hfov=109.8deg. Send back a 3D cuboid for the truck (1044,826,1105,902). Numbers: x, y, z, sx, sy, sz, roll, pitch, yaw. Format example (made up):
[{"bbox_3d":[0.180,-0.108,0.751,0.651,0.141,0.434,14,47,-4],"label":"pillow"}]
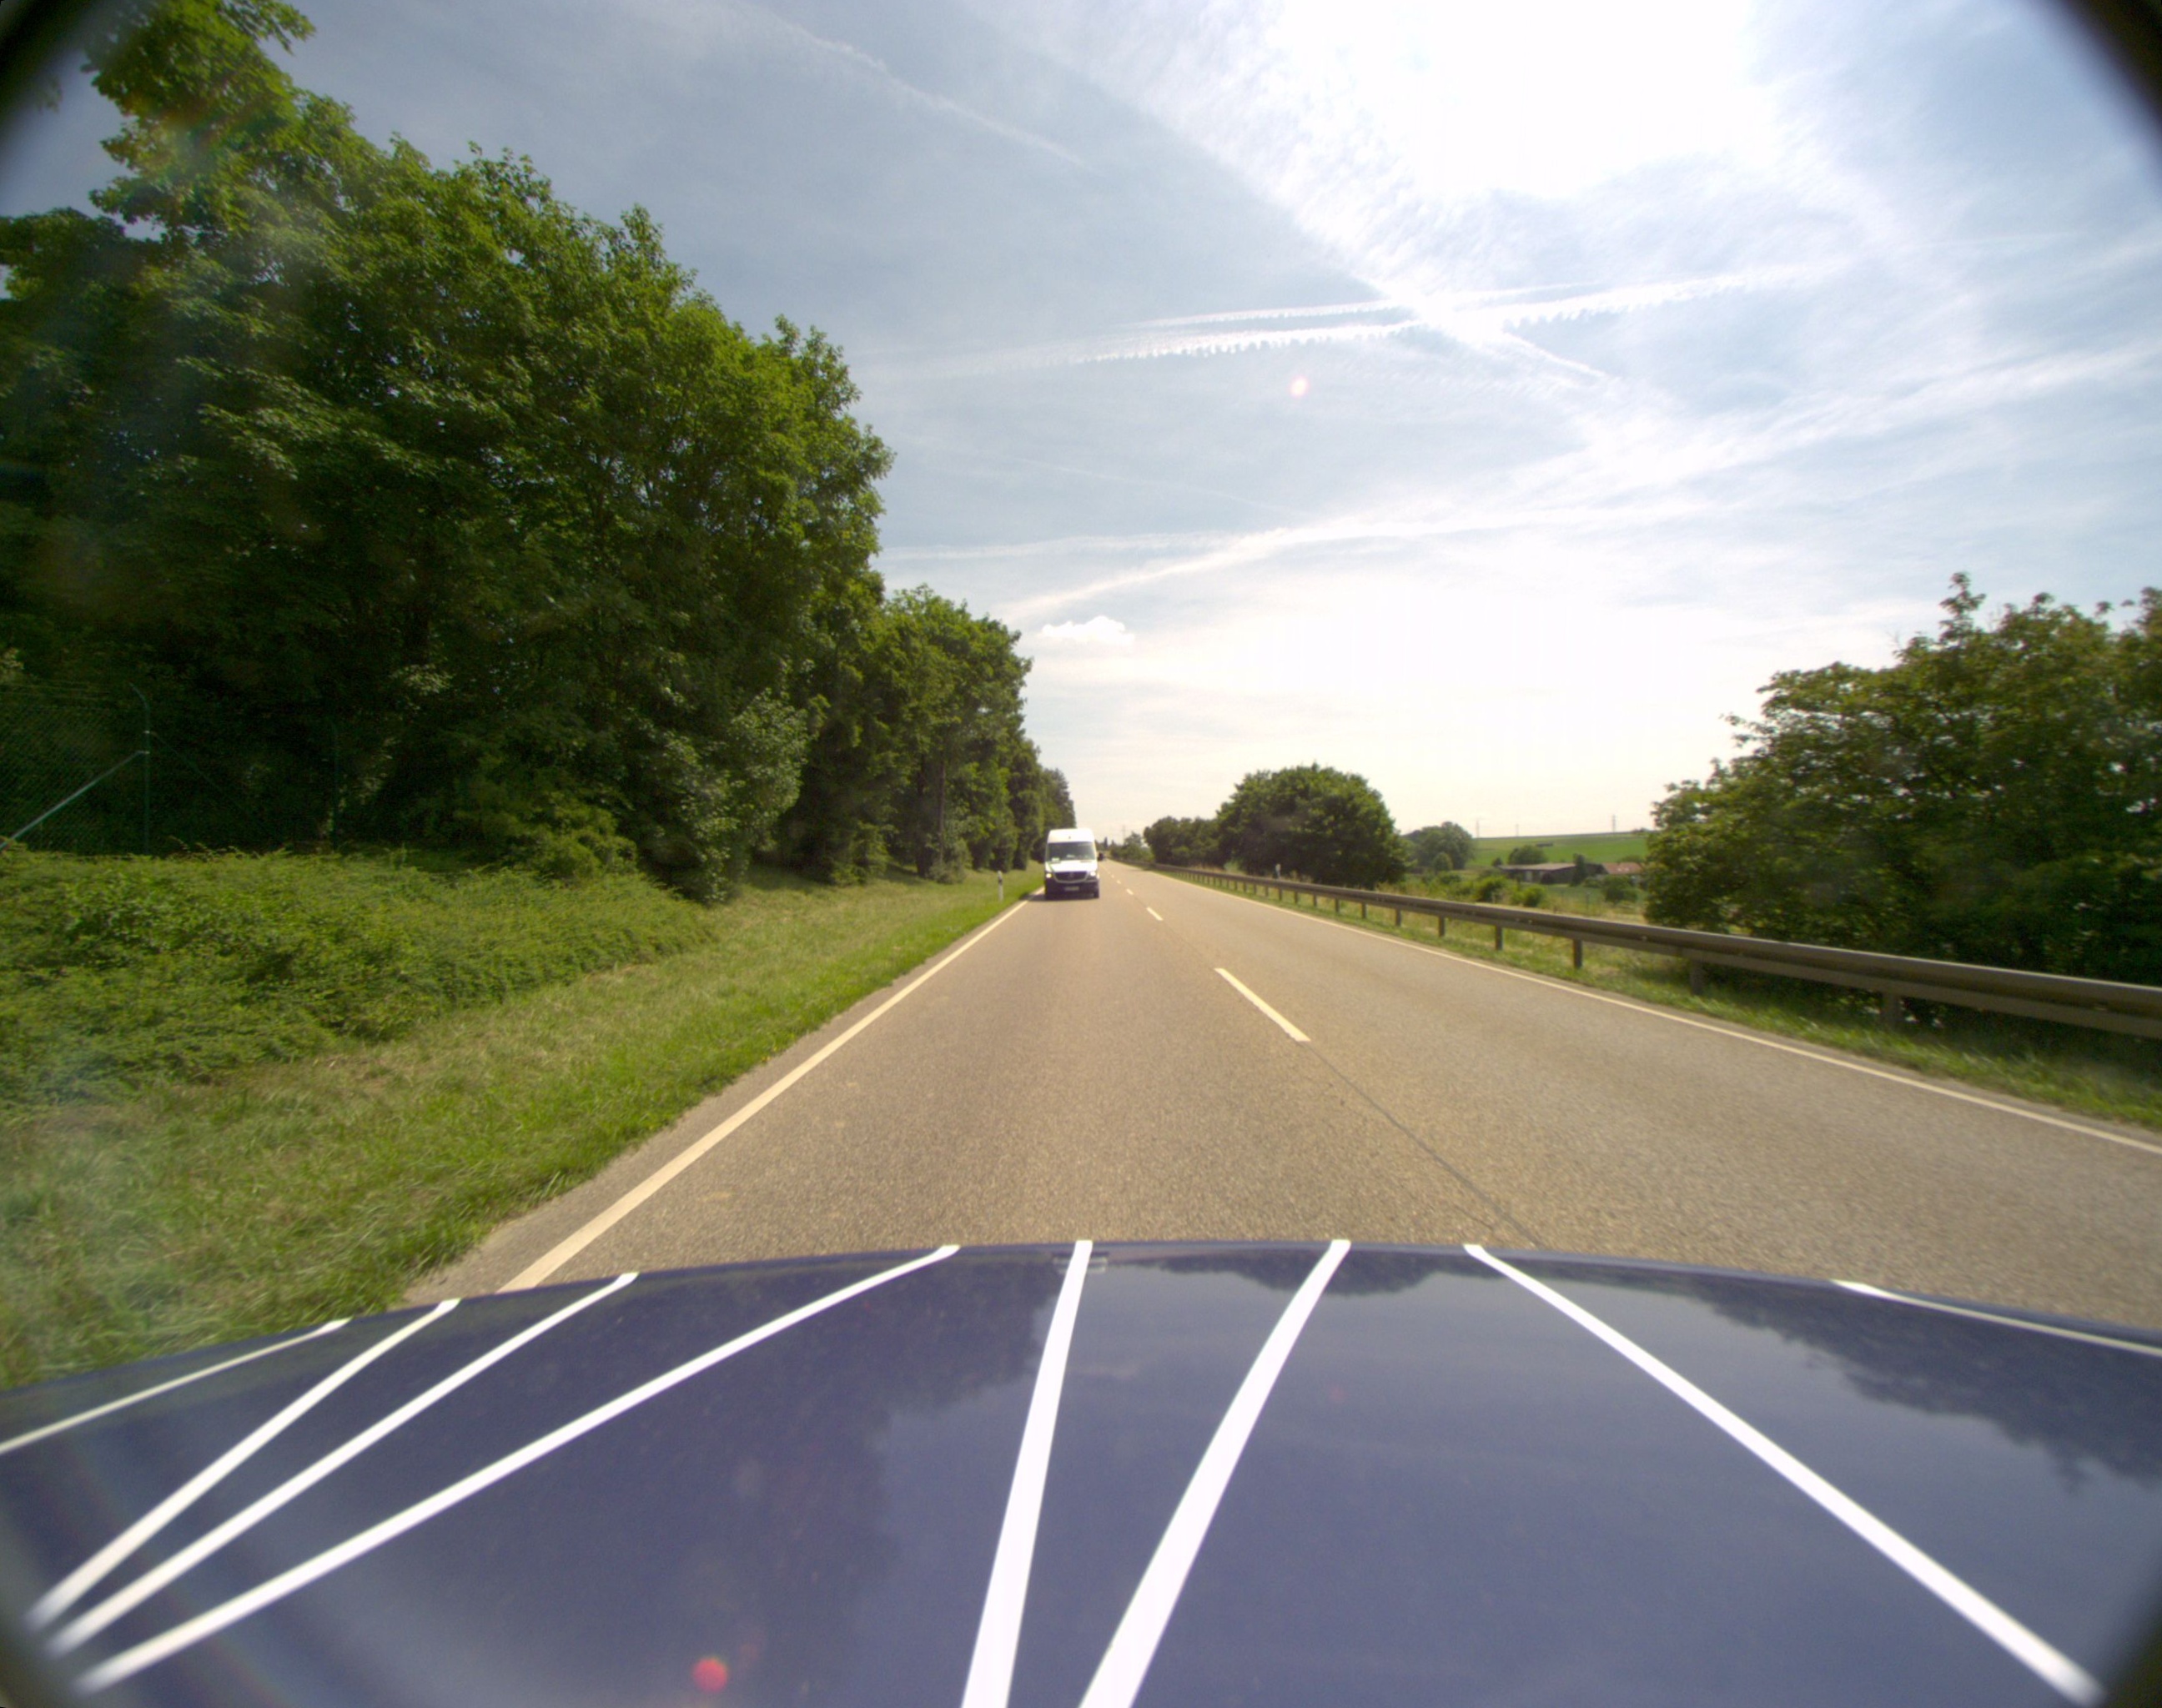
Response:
[{"bbox_3d":[-0.143,0.335,29.887,2.023,2.567,7.225,-1,0,1],"label":"truck"}]

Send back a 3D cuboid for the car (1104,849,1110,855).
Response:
[{"bbox_3d":[7.051,-0.552,208.219,1.561,1.454,3.550,2,0,2],"label":"car"}]
